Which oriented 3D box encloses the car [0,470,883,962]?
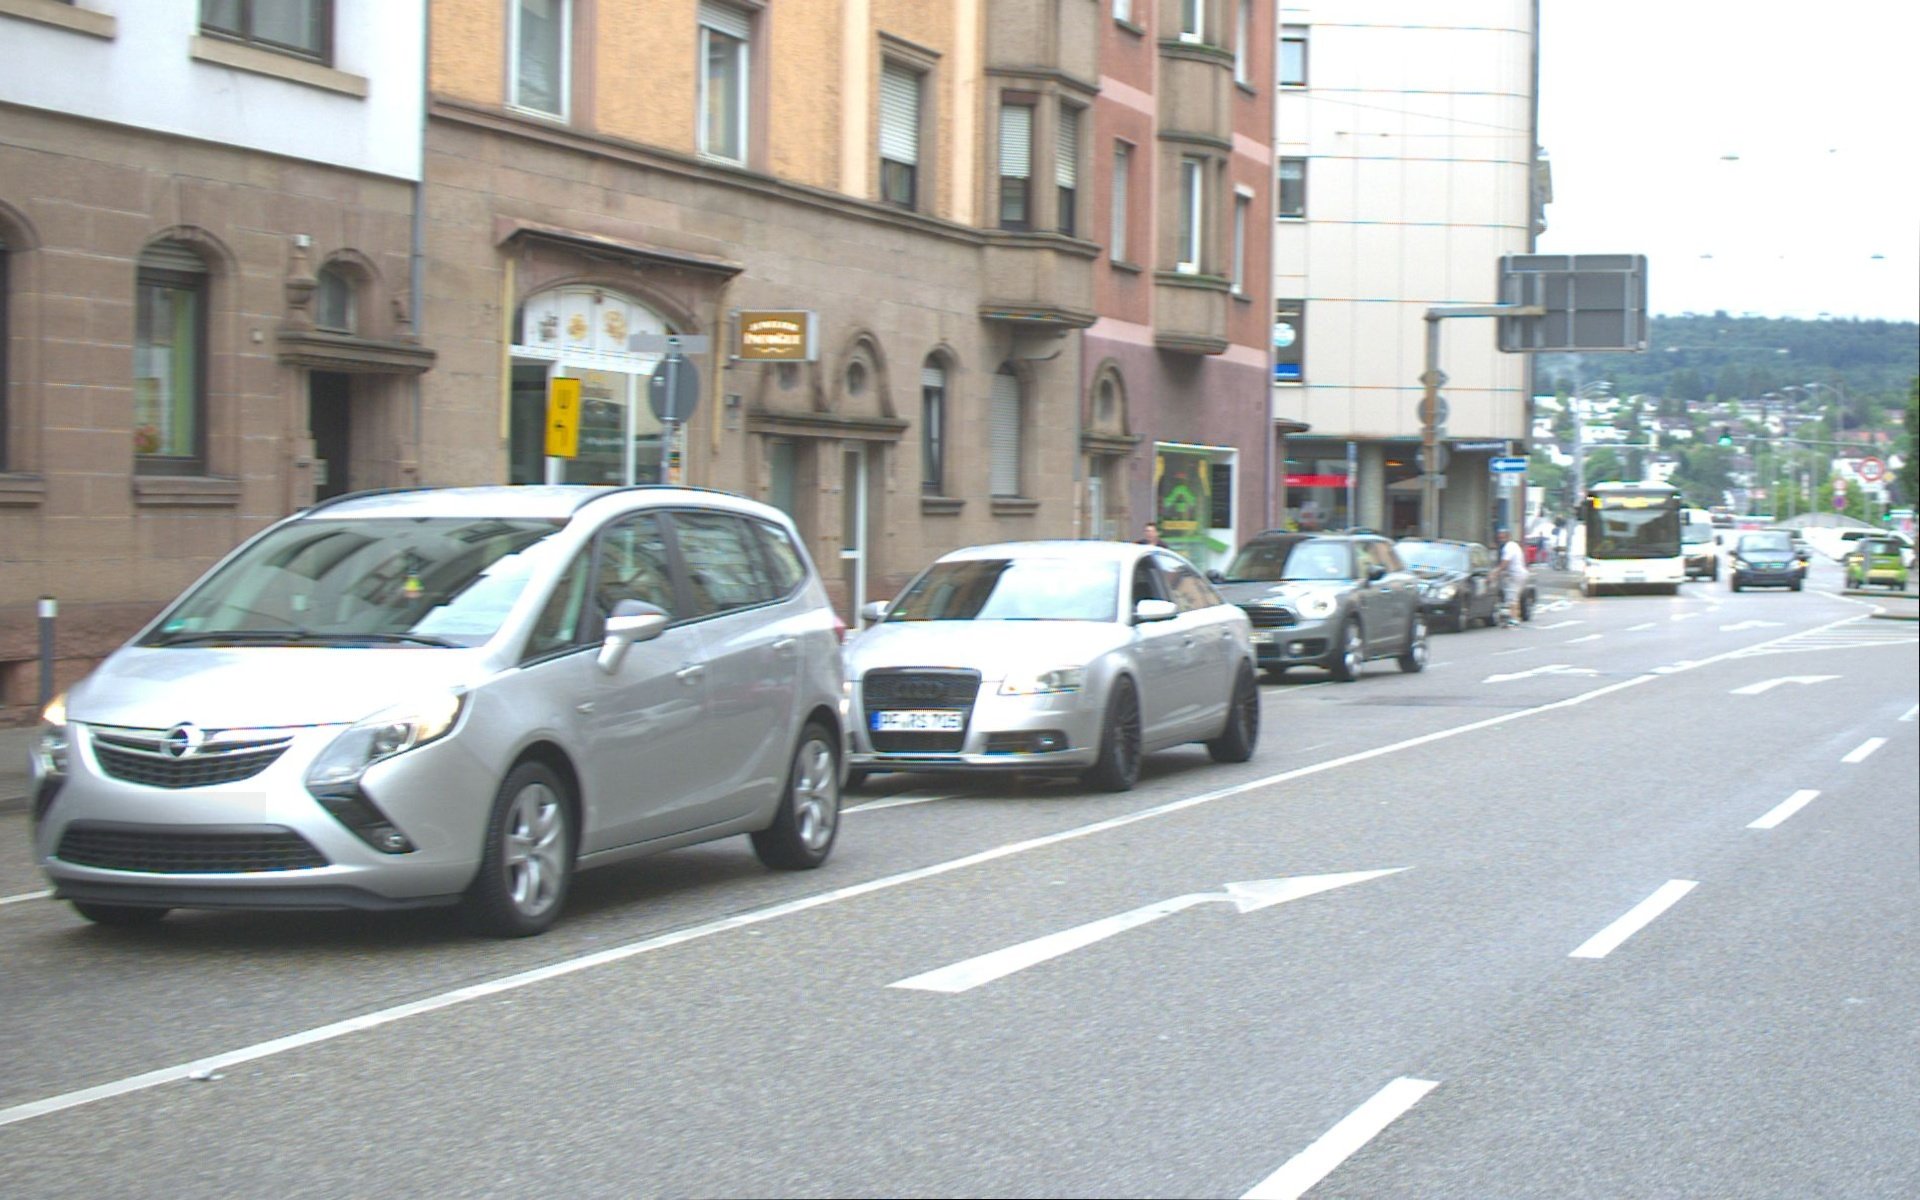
[{"bbox_3d":[-1.982,0.344,13.510,1.944,1.578,4.517,1,1,18],"label":"car"}]

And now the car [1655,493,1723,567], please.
[{"bbox_3d":[24.940,-2.365,117.519,2.087,2.427,6.349,1,1,13],"label":"car"}]

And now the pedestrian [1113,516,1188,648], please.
[{"bbox_3d":[2.515,-0.238,45.221,0.842,1.673,0.853,3,1,6],"label":"pedestrian"}]

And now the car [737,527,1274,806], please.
[{"bbox_3d":[0.418,0.331,20.758,1.944,1.465,4.555,1,1,18],"label":"car"}]

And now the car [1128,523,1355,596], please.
[{"bbox_3d":[6.171,-0.888,75.606,4.627,1.527,1.907,1,1,-9],"label":"car"}]

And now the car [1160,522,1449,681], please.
[{"bbox_3d":[3.795,0.001,37.211,1.983,1.589,4.333,1,1,22],"label":"car"}]

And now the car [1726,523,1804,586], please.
[{"bbox_3d":[21.621,-1.211,92.461,1.755,1.646,4.305,1,1,10],"label":"car"}]

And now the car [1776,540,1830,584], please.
[{"bbox_3d":[32.271,-1.445,131.614,1.755,1.646,3.998,1,1,10],"label":"car"}]

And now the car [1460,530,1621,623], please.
[{"bbox_3d":[9.965,-0.429,58.729,1.852,1.393,4.788,4,2,19],"label":"car"}]

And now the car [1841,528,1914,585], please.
[{"bbox_3d":[27.280,-1.287,102.276,1.755,1.646,3.998,1,1,10],"label":"car"}]

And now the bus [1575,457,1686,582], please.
[{"bbox_3d":[18.017,-2.108,92.784,2.760,3.177,8.908,1,1,10],"label":"bus"}]

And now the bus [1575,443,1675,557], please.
[{"bbox_3d":[19.619,-2.897,101.782,2.726,3.177,9.289,1,1,10],"label":"bus"}]
